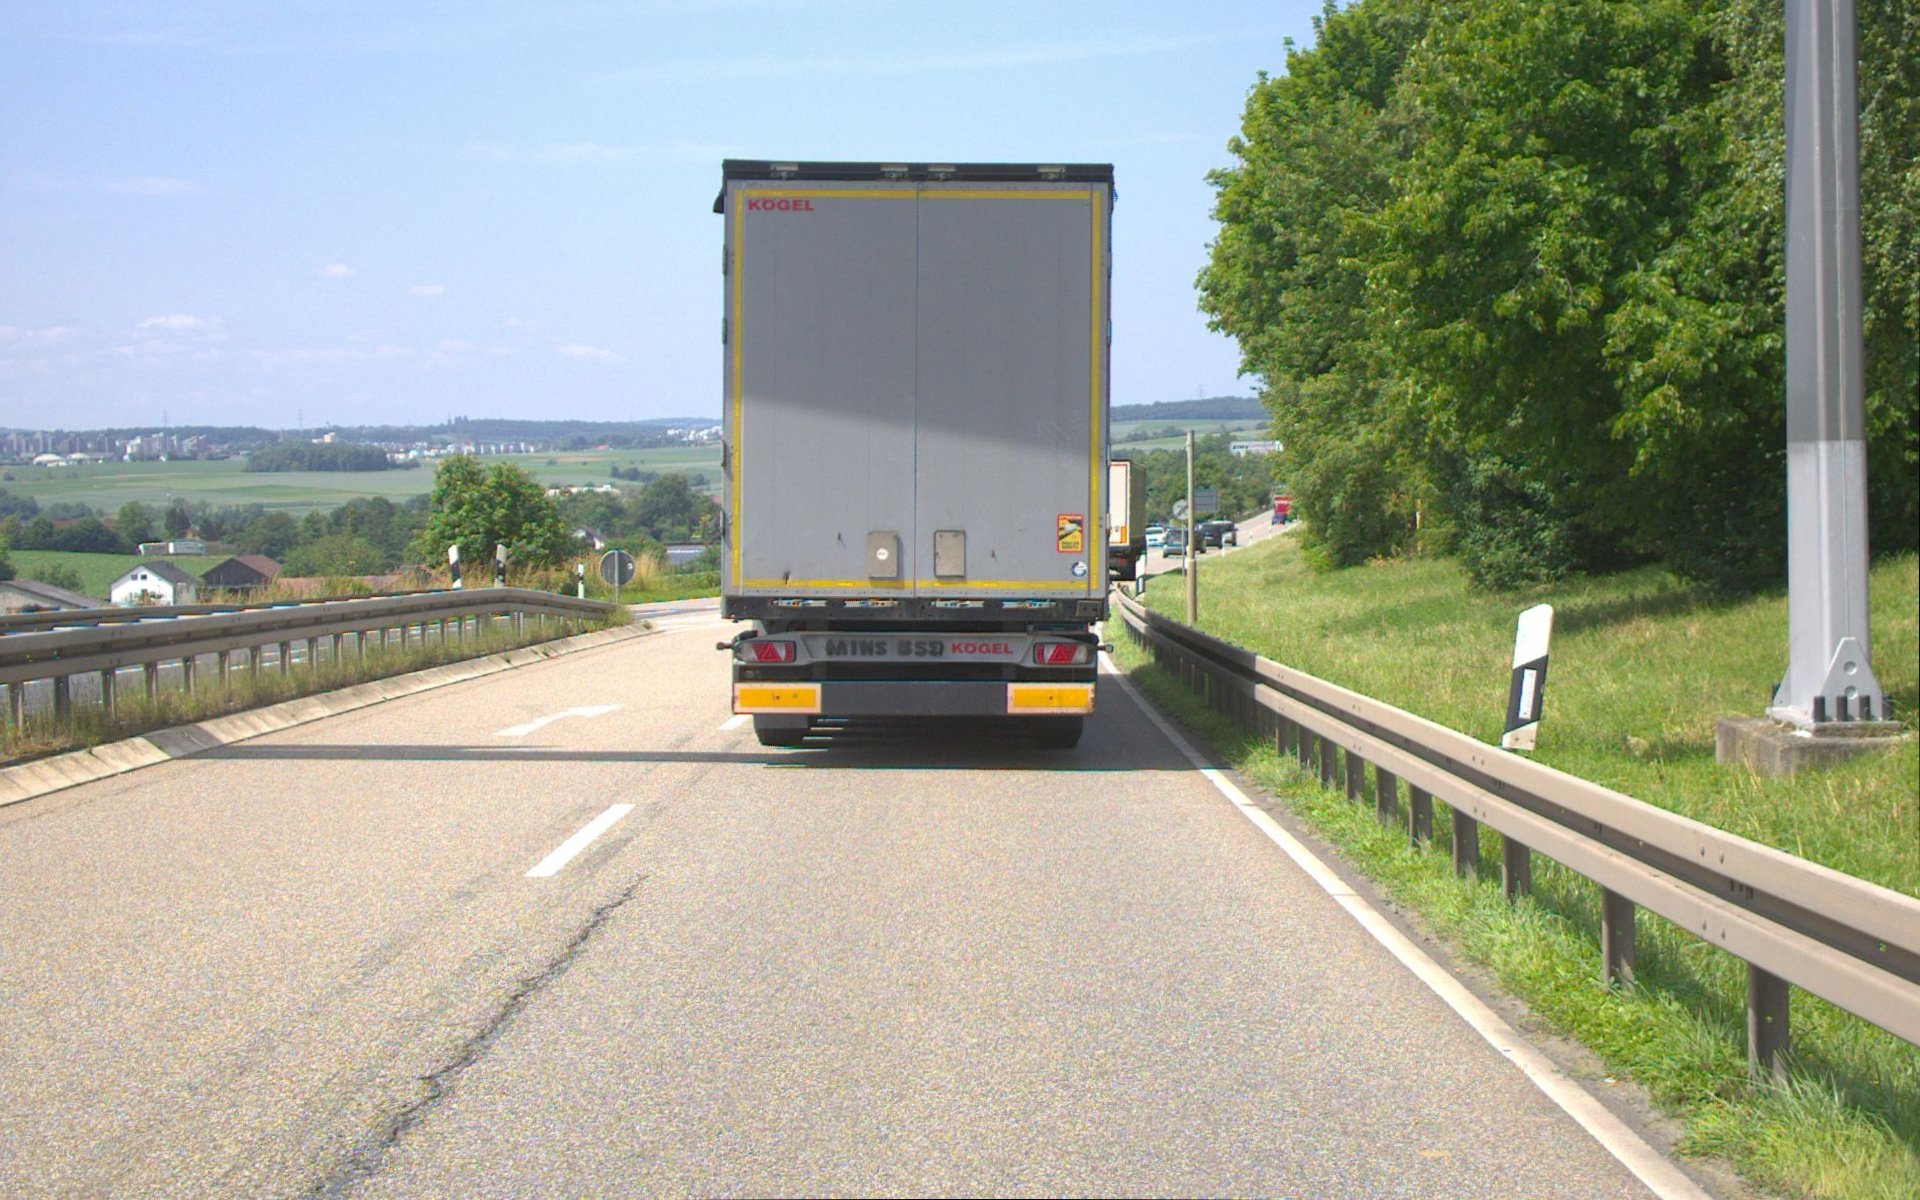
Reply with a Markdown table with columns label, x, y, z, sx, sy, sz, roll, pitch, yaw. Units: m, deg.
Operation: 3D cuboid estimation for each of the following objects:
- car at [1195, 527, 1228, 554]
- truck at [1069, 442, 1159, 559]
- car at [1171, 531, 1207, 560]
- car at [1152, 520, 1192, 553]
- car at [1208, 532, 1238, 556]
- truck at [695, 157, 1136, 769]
| label | x | y | z | sx | sy | sz | roll | pitch | yaw |
| --- | --- | --- | --- | --- | --- | --- | --- | --- | --- |
| car | 16.379 | -3.872 | 224.041 | 1.786 | 1.682 | 4.000 | 0 | 0 | -1 |
| truck | 5.336 | -3.316 | 117.769 | 2.656 | 3.752 | 10.160 | 0 | 0 | 5 |
| car | 13.513 | -3.206 | 202.851 | 1.786 | 1.682 | 4.000 | 0 | 0 | -1 |
| car | 11.258 | -3.384 | 182.709 | 1.786 | 1.682 | 4.000 | 0 | 0 | -1 |
| car | 18.625 | -3.948 | 243.310 | 1.786 | 1.682 | 4.000 | 0 | 0 | -1 |
| truck | -0.278 | -1.003 | 27.892 | 2.799 | 3.916 | 11.342 | 1 | 1 | 0 |
